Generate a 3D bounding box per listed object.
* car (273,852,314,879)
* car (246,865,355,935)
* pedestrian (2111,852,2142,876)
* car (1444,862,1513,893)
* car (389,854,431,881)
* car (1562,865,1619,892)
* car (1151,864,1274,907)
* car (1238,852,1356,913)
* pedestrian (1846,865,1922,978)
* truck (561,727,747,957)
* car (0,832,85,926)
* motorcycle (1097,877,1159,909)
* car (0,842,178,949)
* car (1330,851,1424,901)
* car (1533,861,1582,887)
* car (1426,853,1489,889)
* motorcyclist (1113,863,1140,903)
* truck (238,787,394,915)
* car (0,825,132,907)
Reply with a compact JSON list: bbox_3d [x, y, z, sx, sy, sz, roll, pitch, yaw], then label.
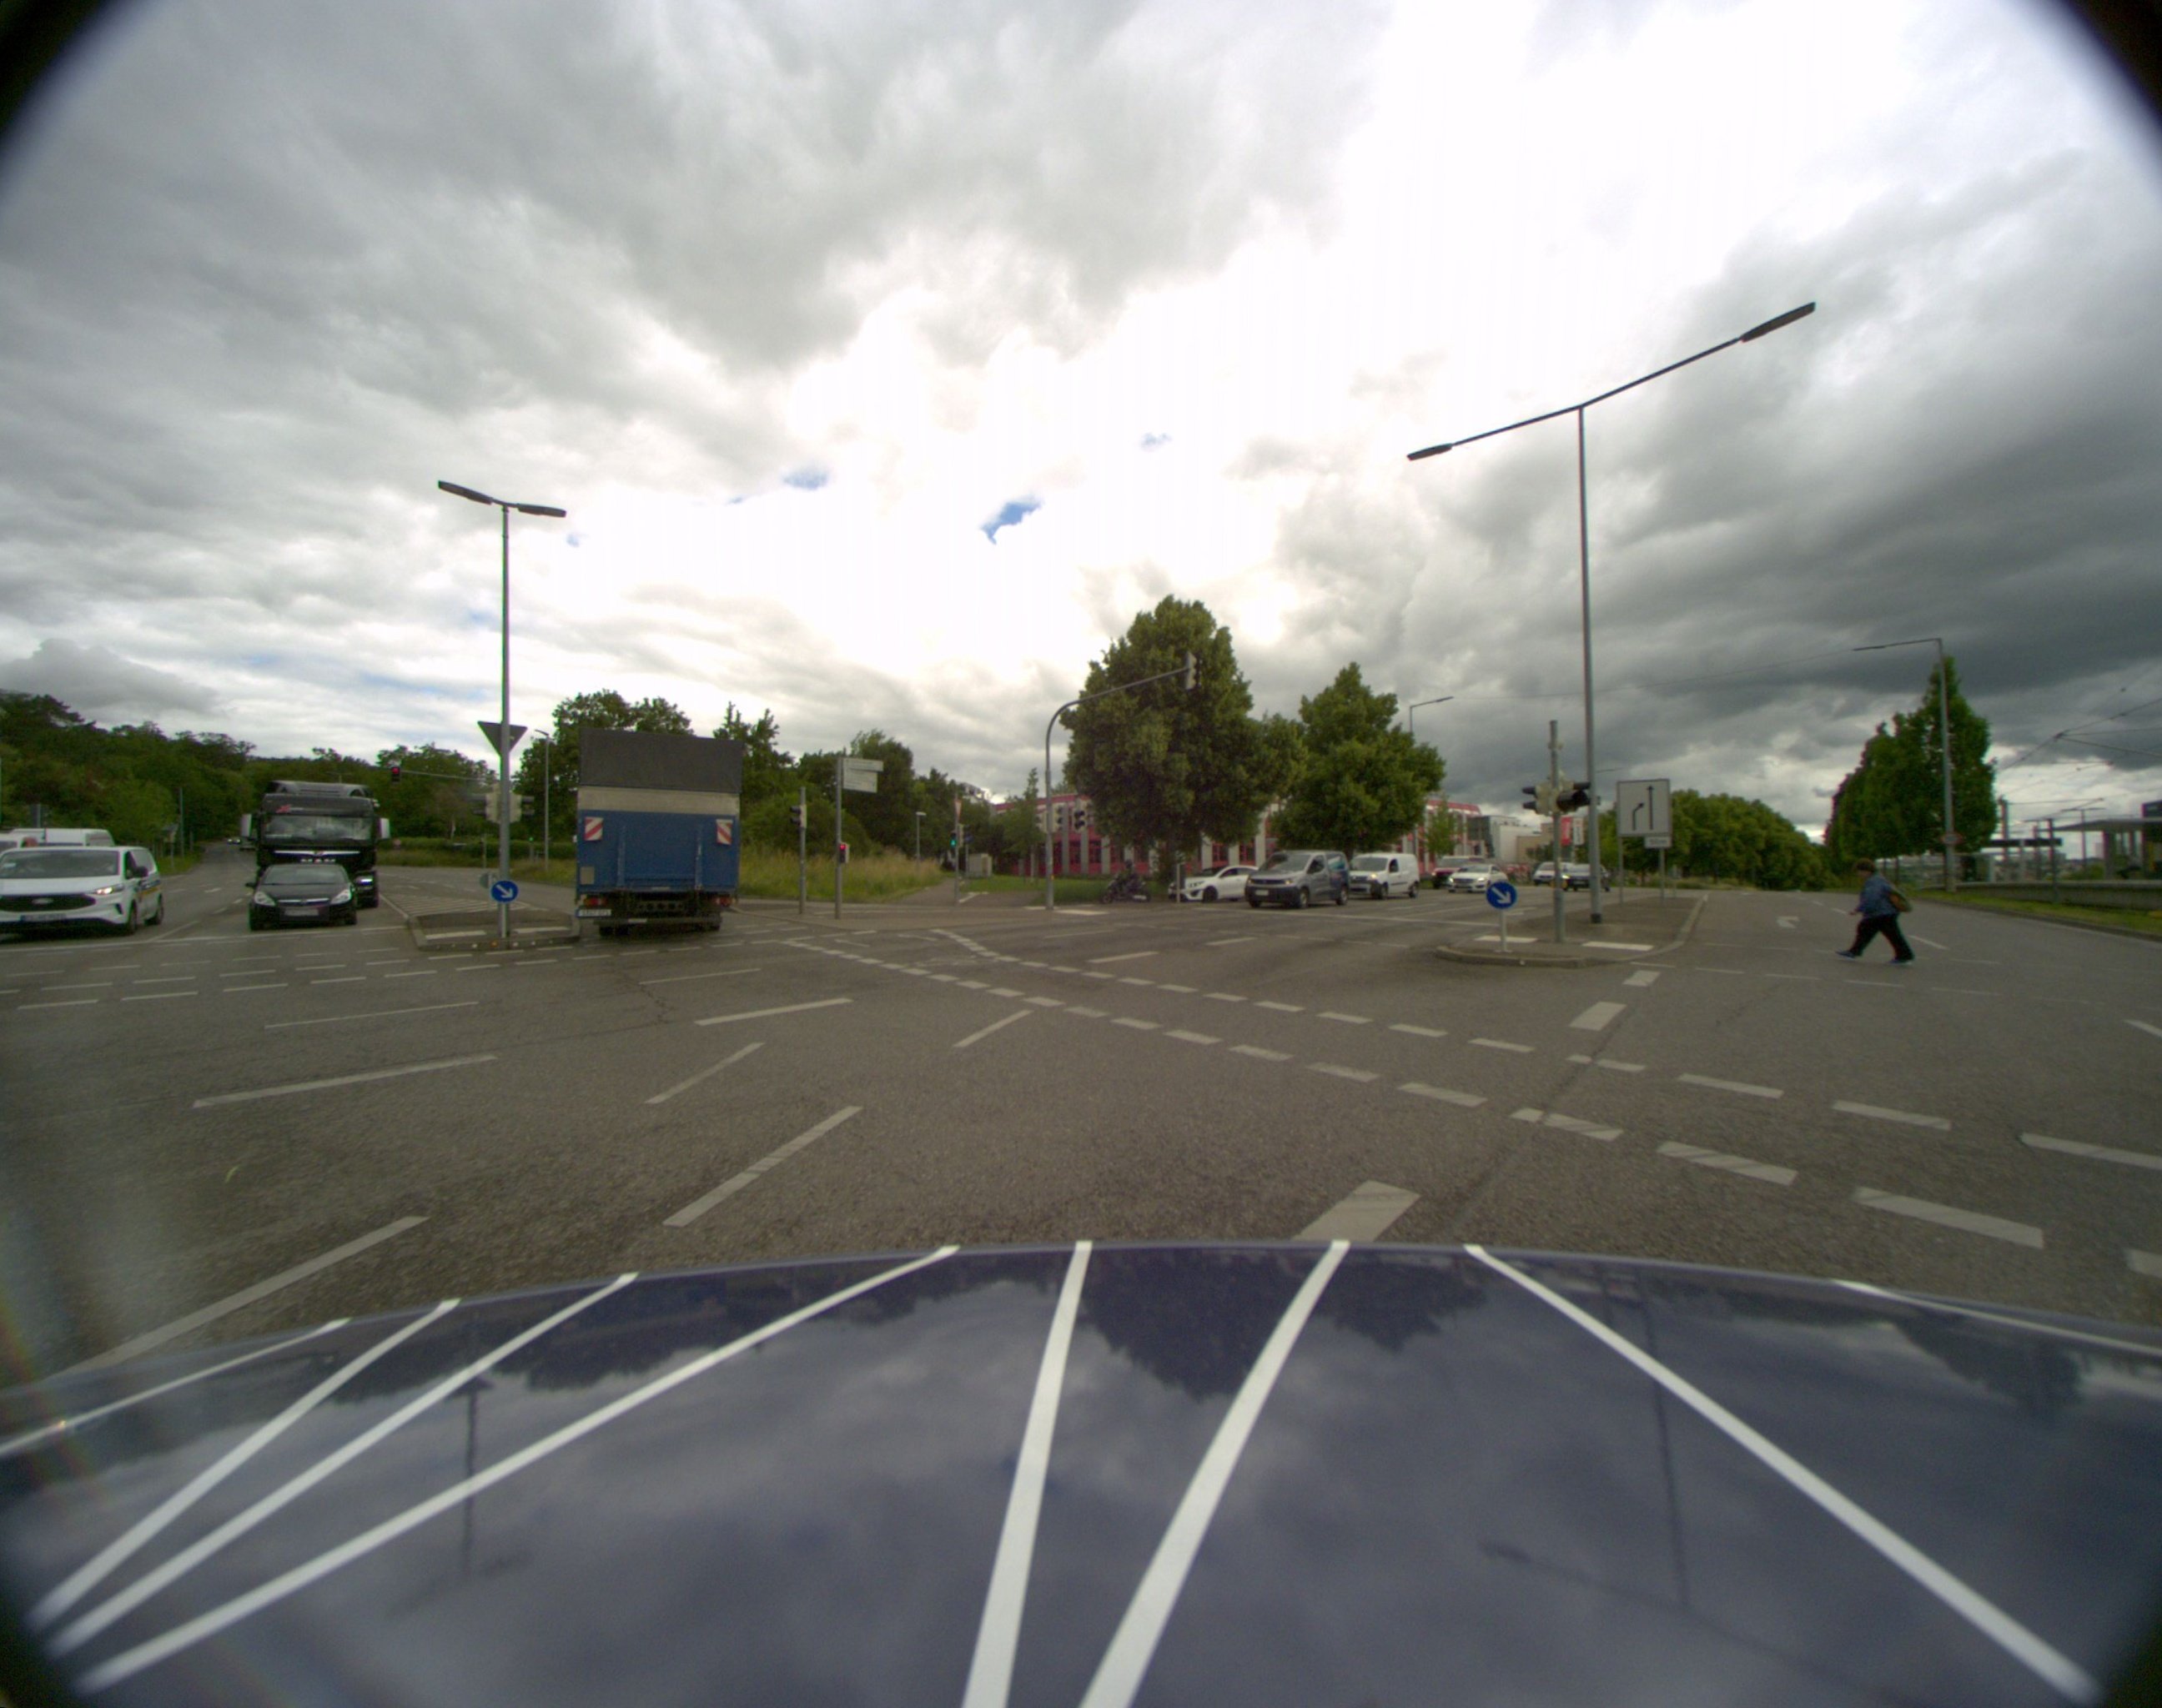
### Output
[{"bbox_3d":[-60.658,0.839,58.491,3.988,2.010,2.004,0,0,41],"label":"car"},{"bbox_3d":[-18.444,1.010,18.086,1.639,1.433,3.855,0,0,-43],"label":"car"},{"bbox_3d":[51.250,0.489,37.258,0.749,1.169,0.839,0,1,43],"label":"pedestrian"},{"bbox_3d":[19.387,1.172,36.994,1.809,1.332,4.233,0,-3,45],"label":"car"},{"bbox_3d":[-41.324,0.806,46.773,3.855,1.566,1.640,0,0,44],"label":"car"},{"bbox_3d":[27.852,1.355,41.497,1.809,1.332,4.233,0,-3,45],"label":"car"},{"bbox_3d":[5.036,1.162,28.818,4.522,1.411,1.832,-1,-2,-34],"label":"car"},{"bbox_3d":[6.923,0.821,24.116,1.809,1.769,4.231,0,0,44],"label":"car"},{"bbox_3d":[11.364,0.916,10.757,0.672,1.521,0.714,-1,1,-42],"label":"pedestrian"},{"bbox_3d":[-9.308,-0.177,16.854,2.792,3.782,8.370,0,0,-28],"label":"truck"},{"bbox_3d":[-30.125,0.653,20.945,2.232,2.372,5.943,-2,1,-43],"label":"car"},{"bbox_3d":[1.673,1.374,27.102,2.070,1.084,0.759,0,-1,-12],"label":"motorcycle"},{"bbox_3d":[-21.706,0.779,16.528,2.125,1.979,4.973,-3,2,-45],"label":"car"},{"bbox_3d":[11.690,0.845,29.836,1.809,1.781,4.707,0,-1,43],"label":"car"},{"bbox_3d":[37.205,1.542,59.300,5.248,1.894,1.946,0,0,-43],"label":"car"},{"bbox_3d":[22.170,0.999,44.698,2.178,1.894,4.465,0,-3,42],"label":"car"},{"bbox_3d":[1.617,1.034,27.091,0.817,1.413,0.759,0,-1,-12],"label":"motorcyclist"},{"bbox_3d":[-23.859,-0.105,23.867,3.081,3.498,5.943,-2,1,-44],"label":"truck"},{"bbox_3d":[-37.454,0.392,27.981,2.232,2.705,6.667,-2,1,-44],"label":"car"}]
